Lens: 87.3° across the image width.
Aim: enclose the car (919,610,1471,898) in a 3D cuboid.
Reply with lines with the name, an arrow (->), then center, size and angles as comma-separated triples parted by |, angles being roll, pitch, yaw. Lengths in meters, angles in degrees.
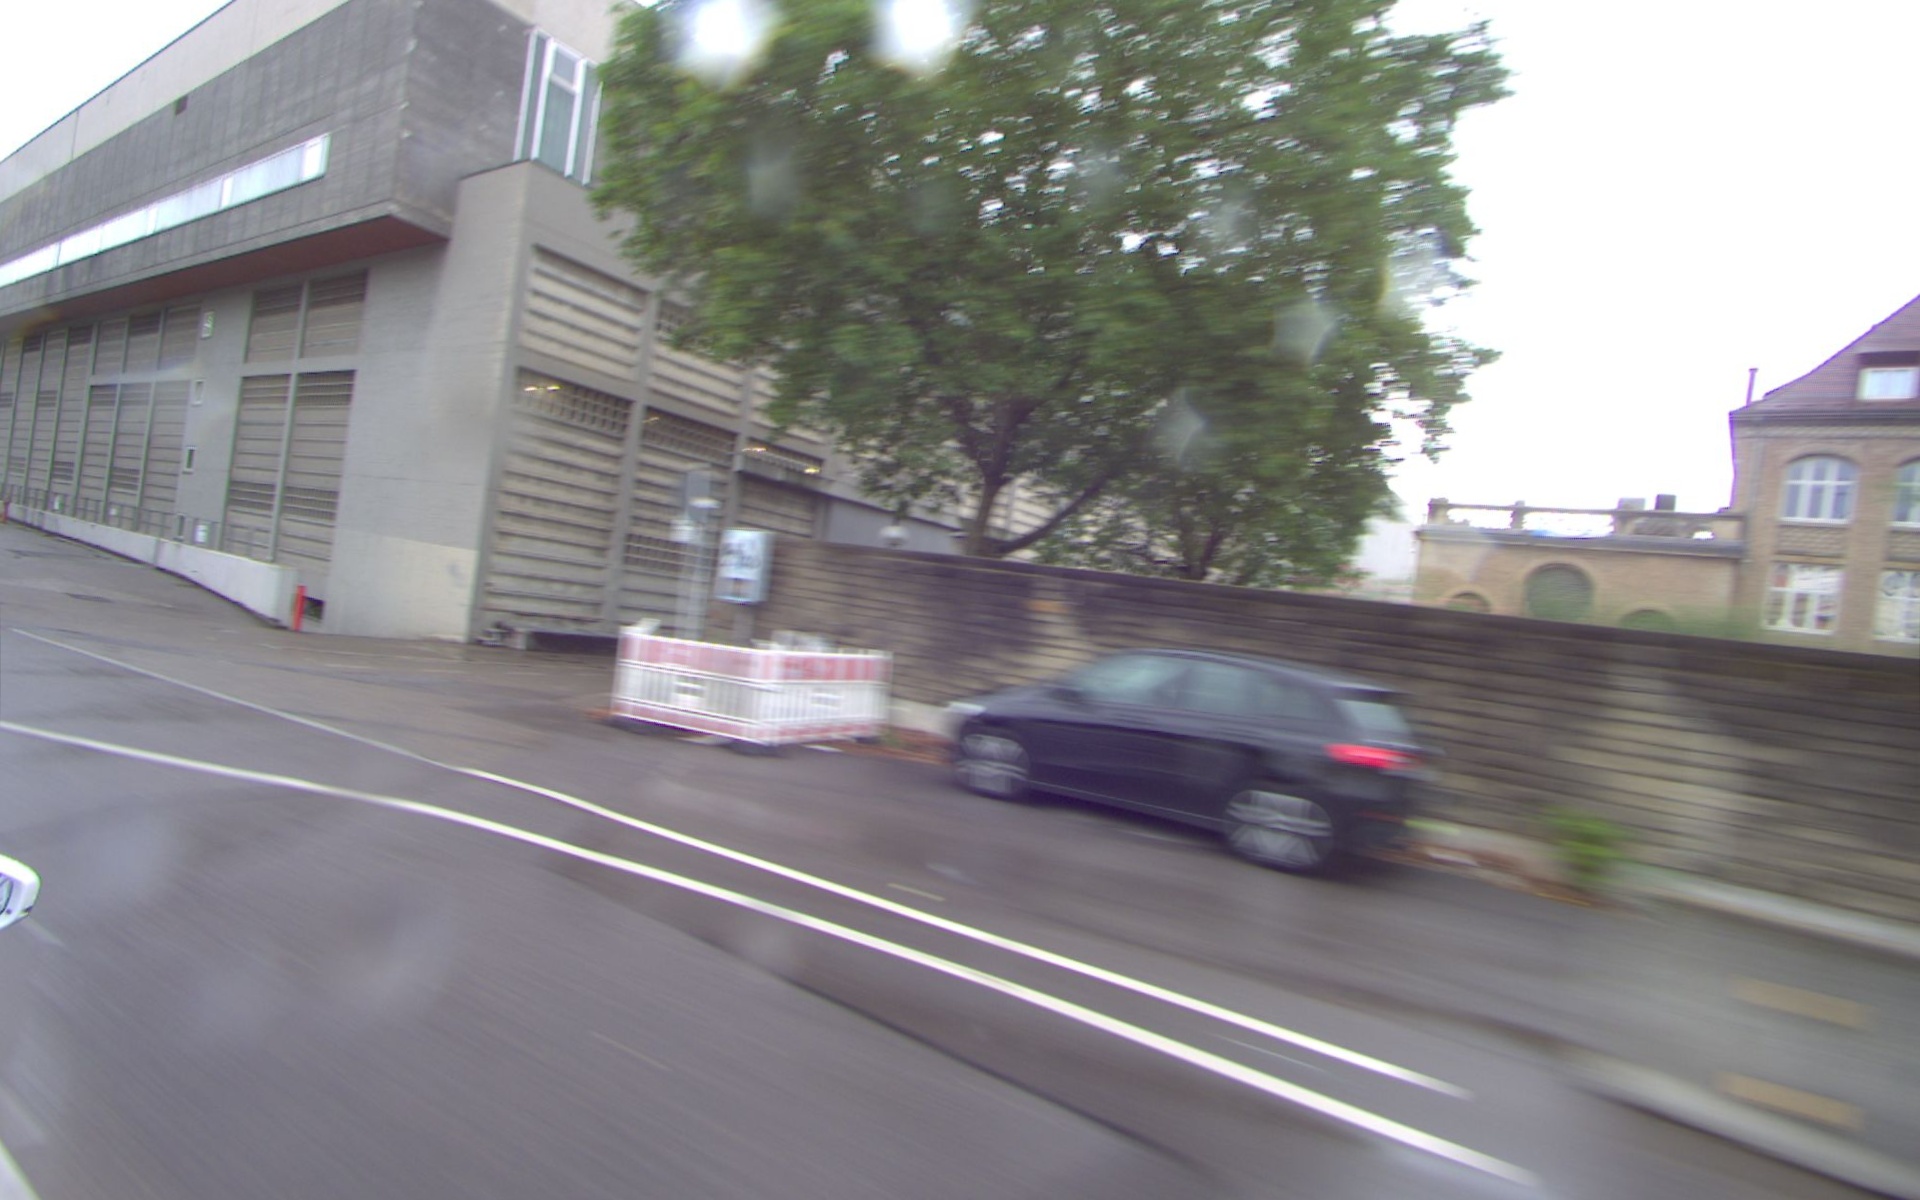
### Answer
car -> 1.888, 1.131, 8.860 | 4.263, 1.571, 1.803 | 6, 0, 39
